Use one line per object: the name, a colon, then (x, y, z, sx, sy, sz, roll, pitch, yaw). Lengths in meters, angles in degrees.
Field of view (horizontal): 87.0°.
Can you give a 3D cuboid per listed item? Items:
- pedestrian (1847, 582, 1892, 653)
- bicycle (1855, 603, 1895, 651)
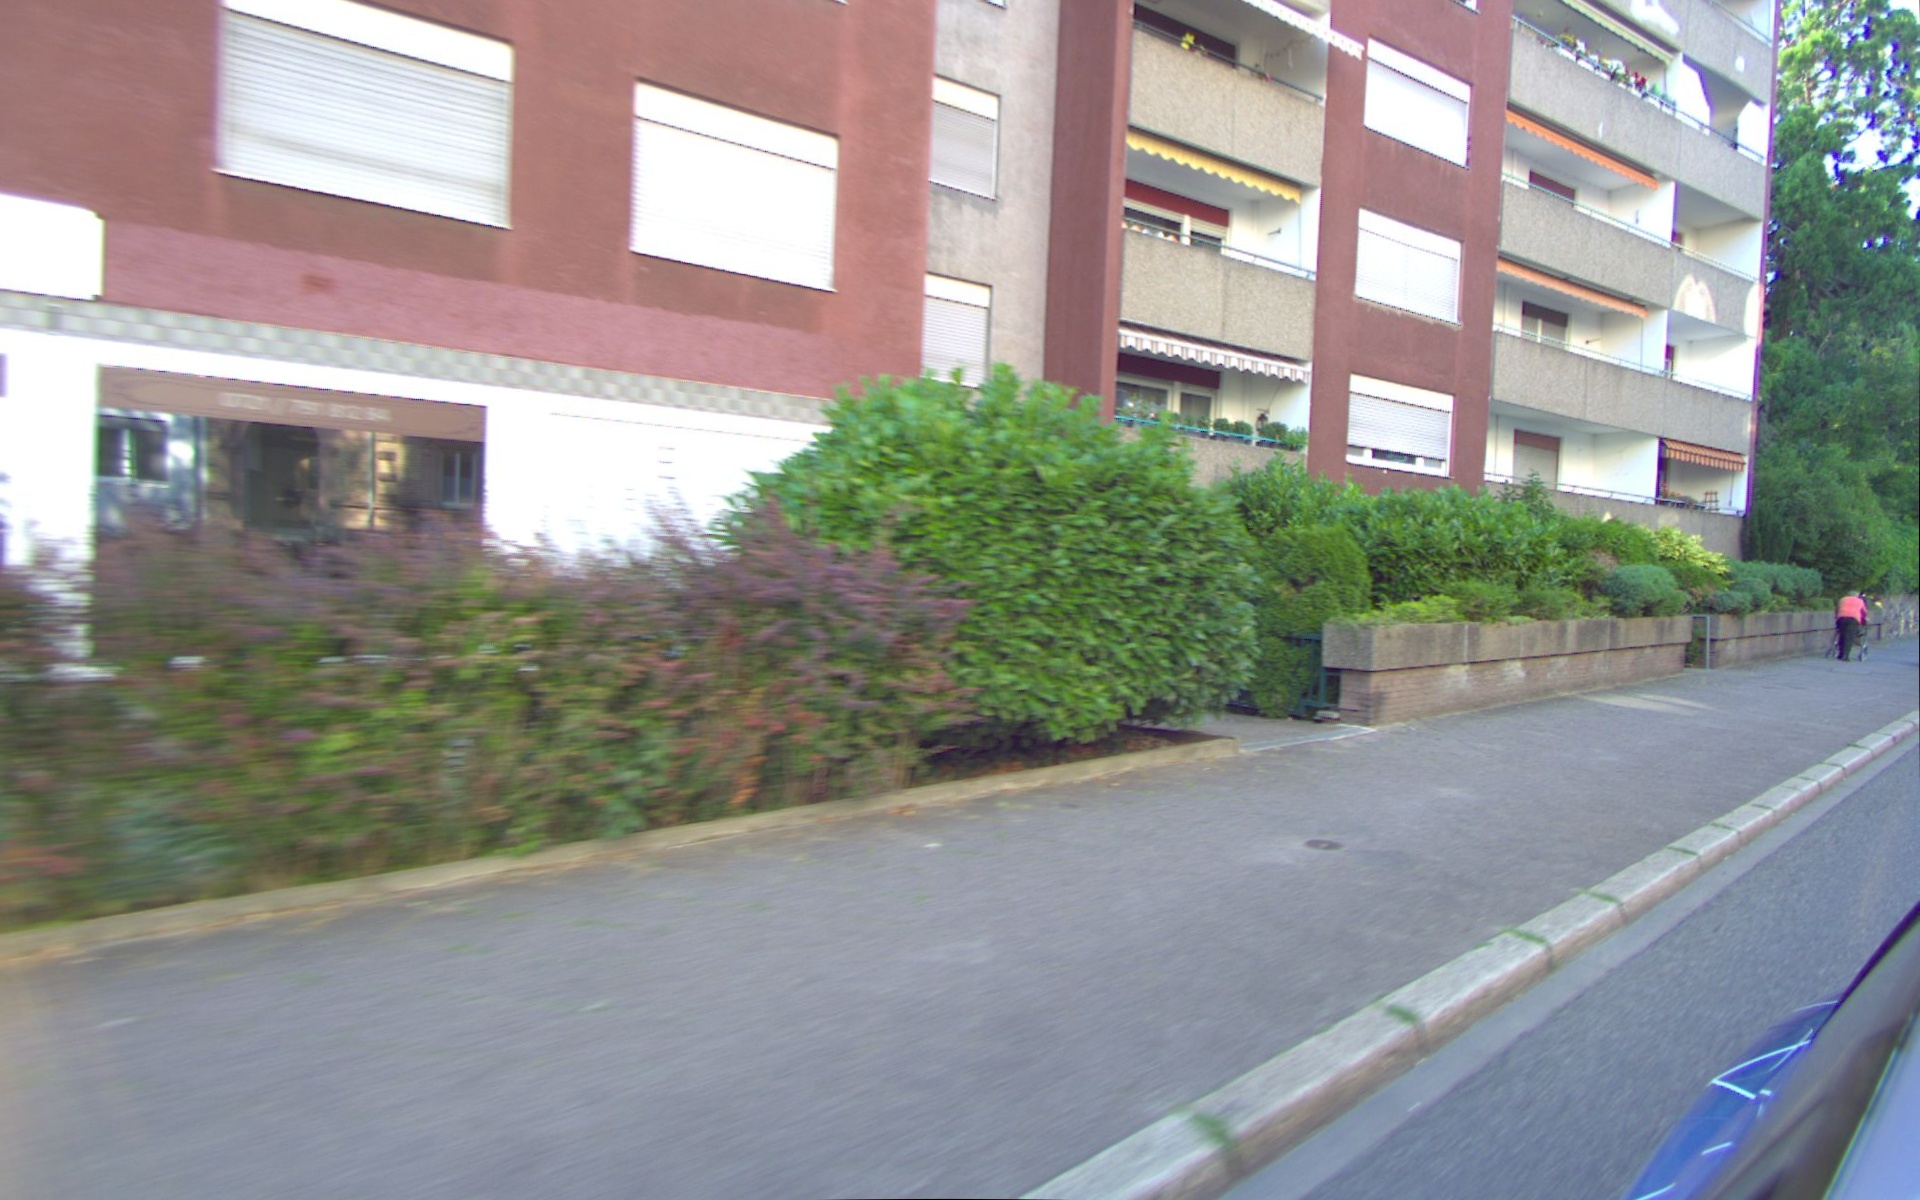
pedestrian: (18.670, 0.359, 20.776, 0.656, 1.420, 0.598, 2, 0, -42)
bicycle: (19.174, 0.557, 21.197, 0.484, 0.982, 0.567, 2, 0, -42)
